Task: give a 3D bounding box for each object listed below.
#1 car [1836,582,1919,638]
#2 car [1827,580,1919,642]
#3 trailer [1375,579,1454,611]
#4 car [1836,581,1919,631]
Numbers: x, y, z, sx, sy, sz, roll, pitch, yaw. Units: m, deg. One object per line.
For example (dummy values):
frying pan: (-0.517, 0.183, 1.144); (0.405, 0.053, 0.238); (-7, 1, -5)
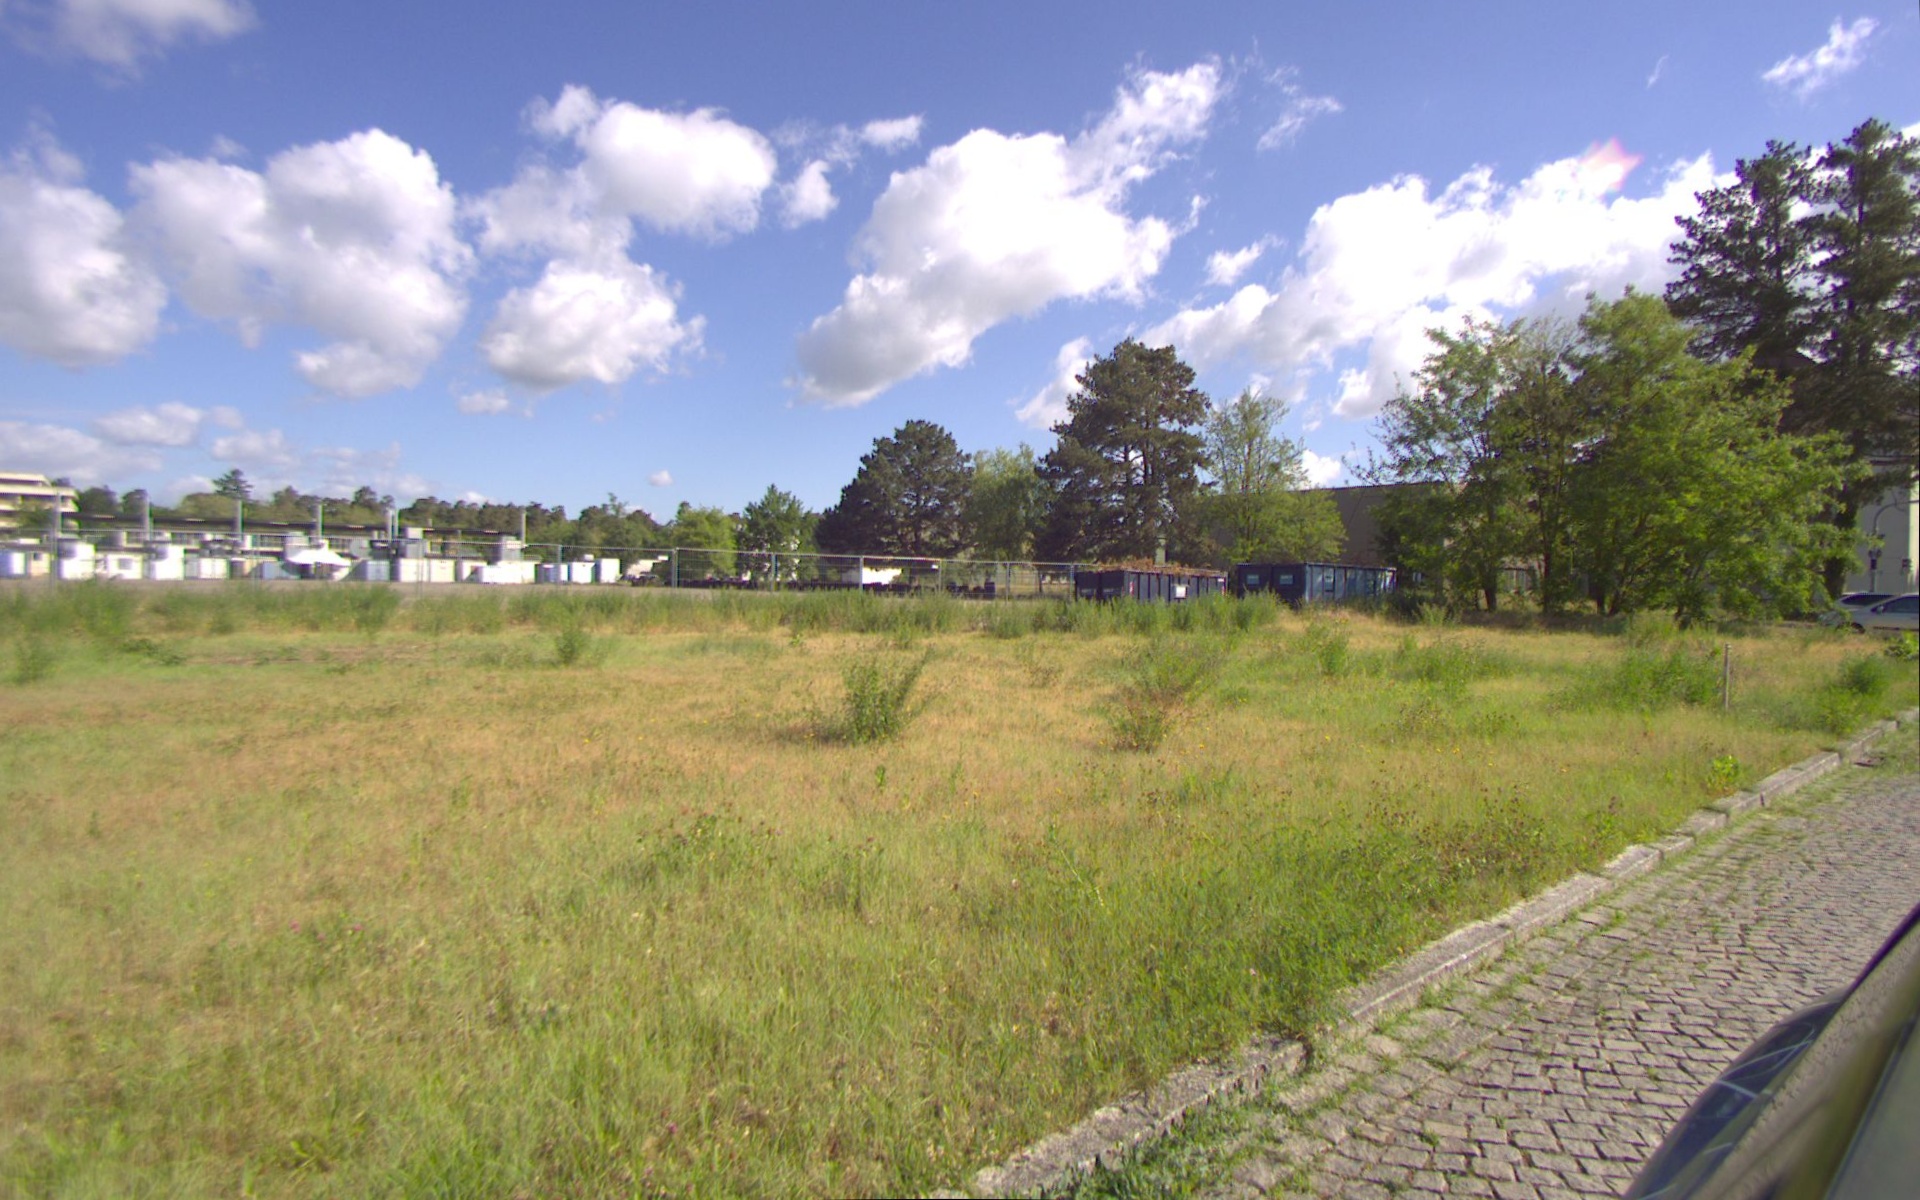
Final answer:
car: (27.621, 0.356, 28.658); (1.812, 1.458, 4.013); (0, 4, -41)
car: (25.619, 0.341, 26.826); (1.722, 1.494, 3.748); (-1, 5, -41)
trailer: (16.295, -0.177, 36.327); (1.019, 1.119, 2.401); (-1, 1, -43)
car: (31.177, 0.253, 32.401); (1.808, 1.482, 4.521); (-1, 4, -42)
